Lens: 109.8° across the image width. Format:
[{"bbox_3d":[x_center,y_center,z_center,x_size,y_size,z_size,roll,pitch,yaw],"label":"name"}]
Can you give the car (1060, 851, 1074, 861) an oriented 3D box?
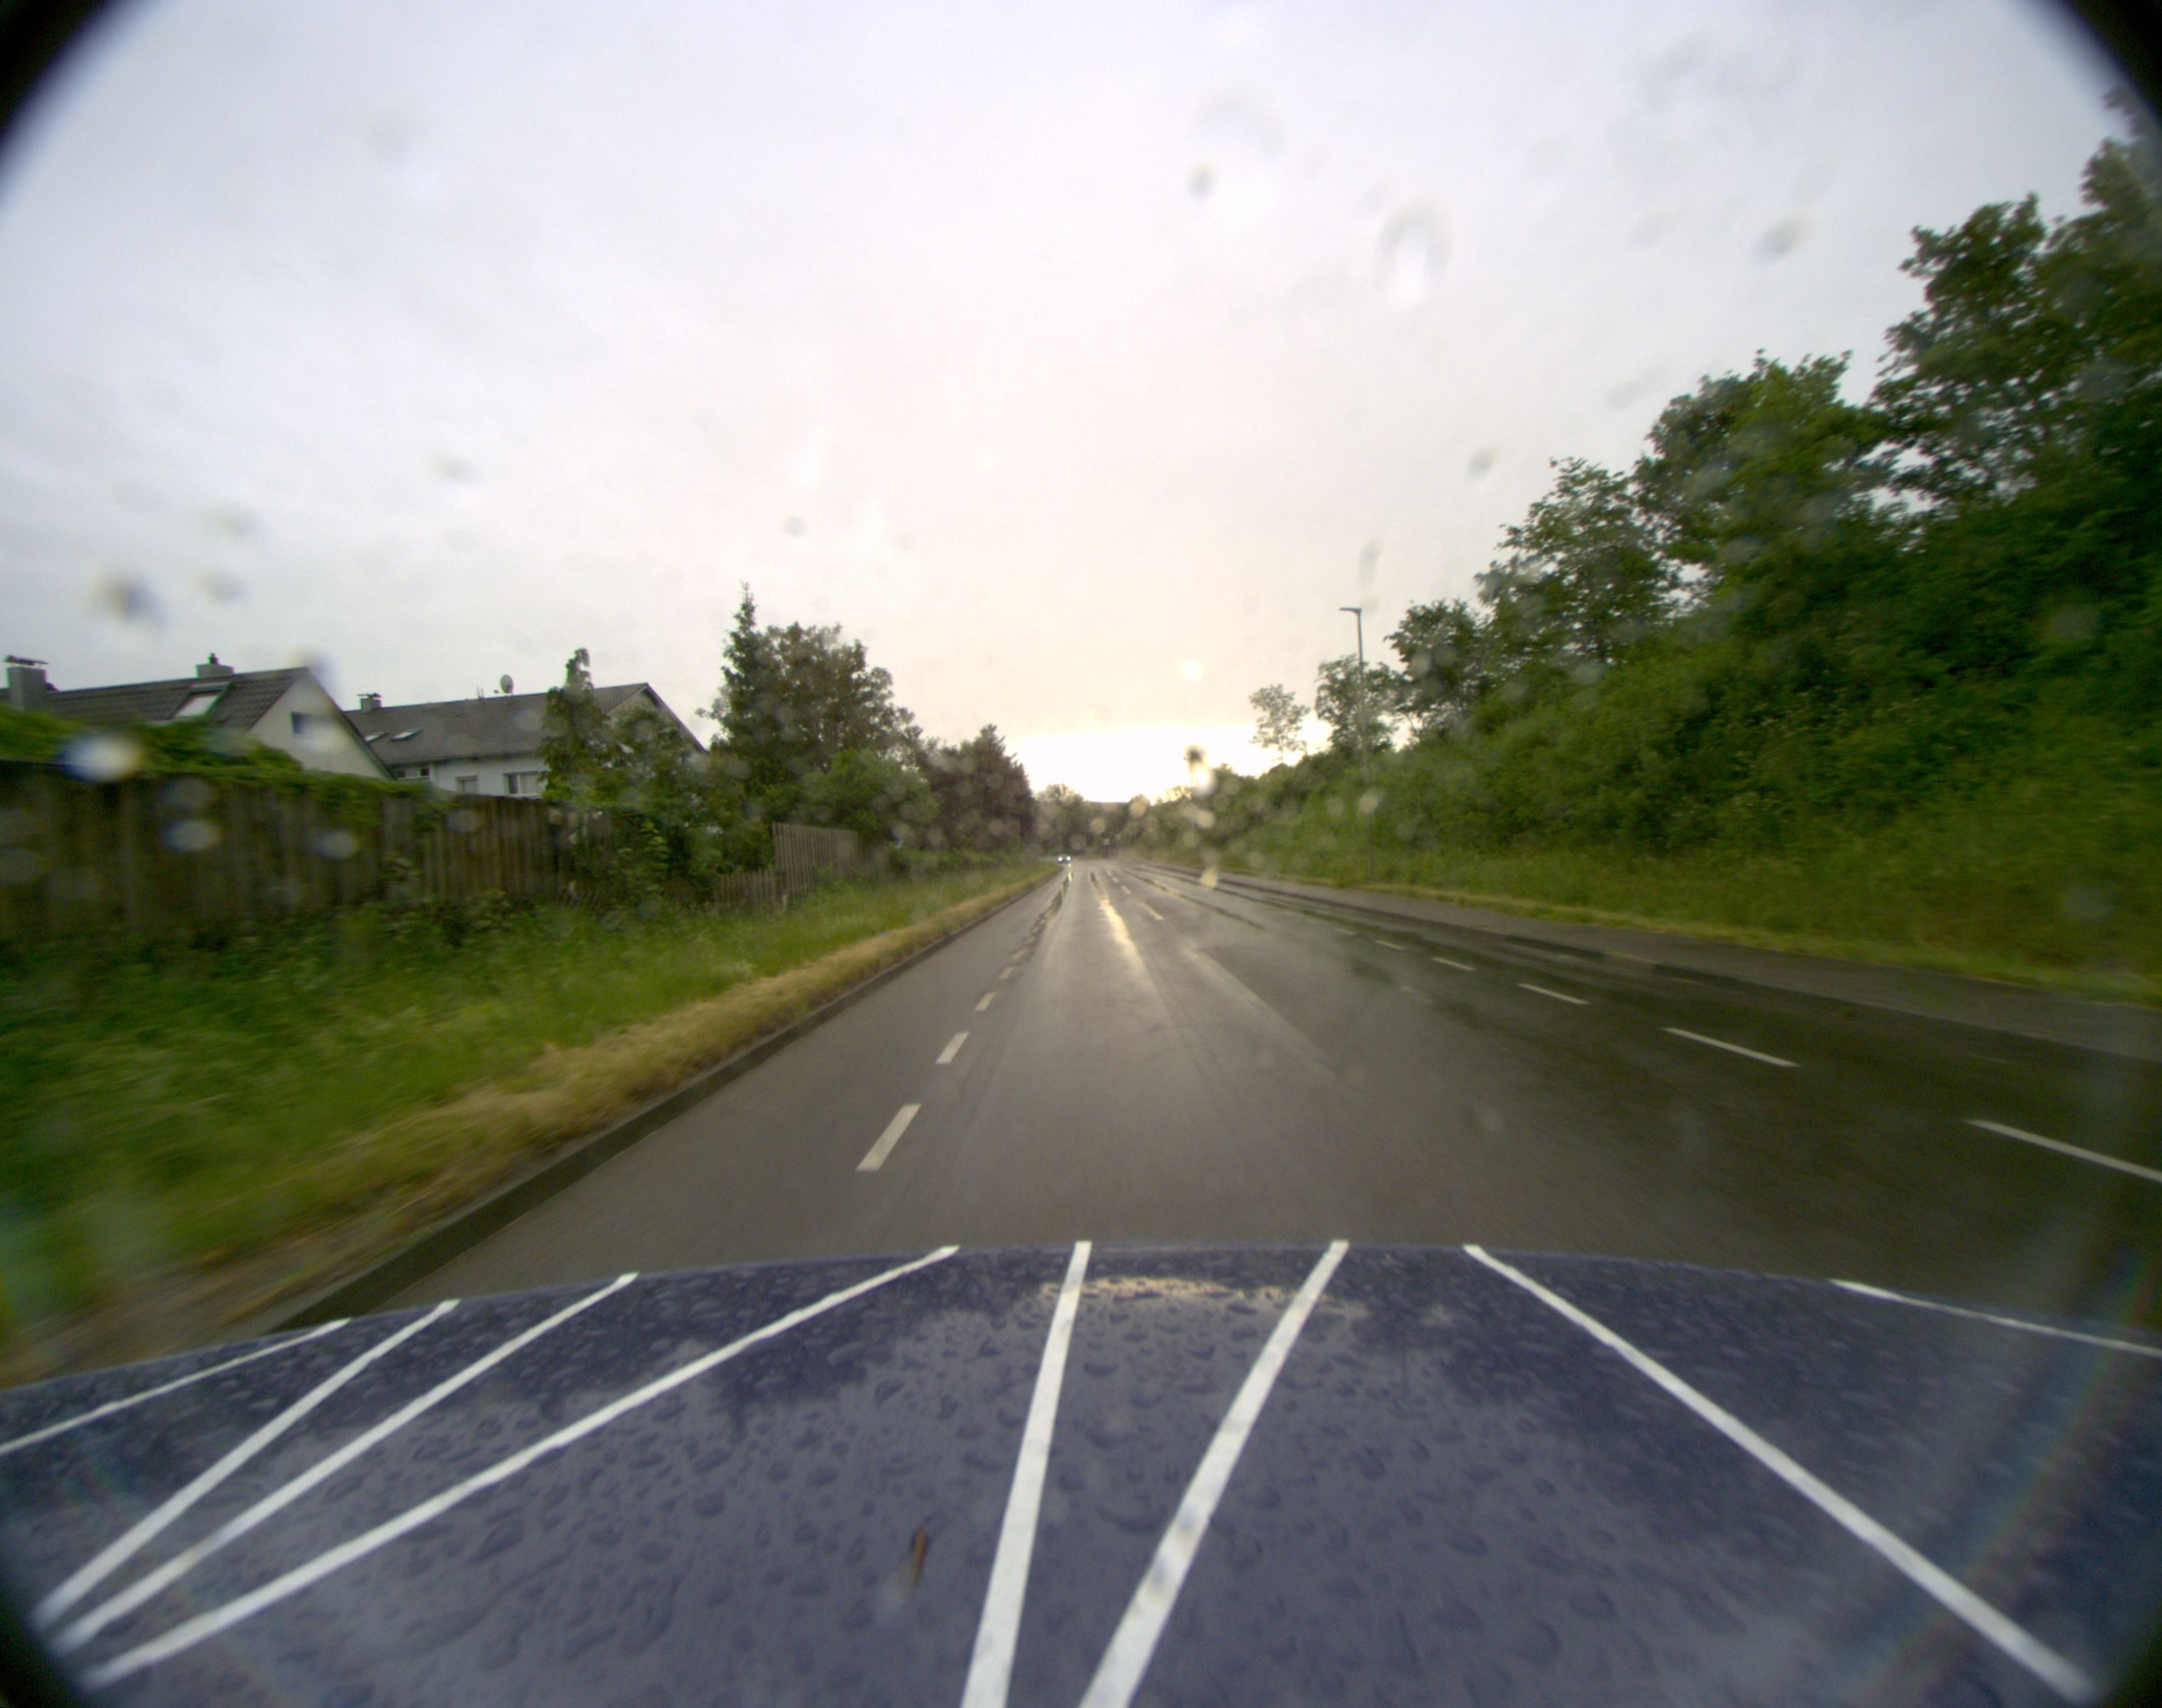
[{"bbox_3d":[-2.336,0.261,126.093,1.881,1.596,3.996,-1,0,-9],"label":"car"}]
